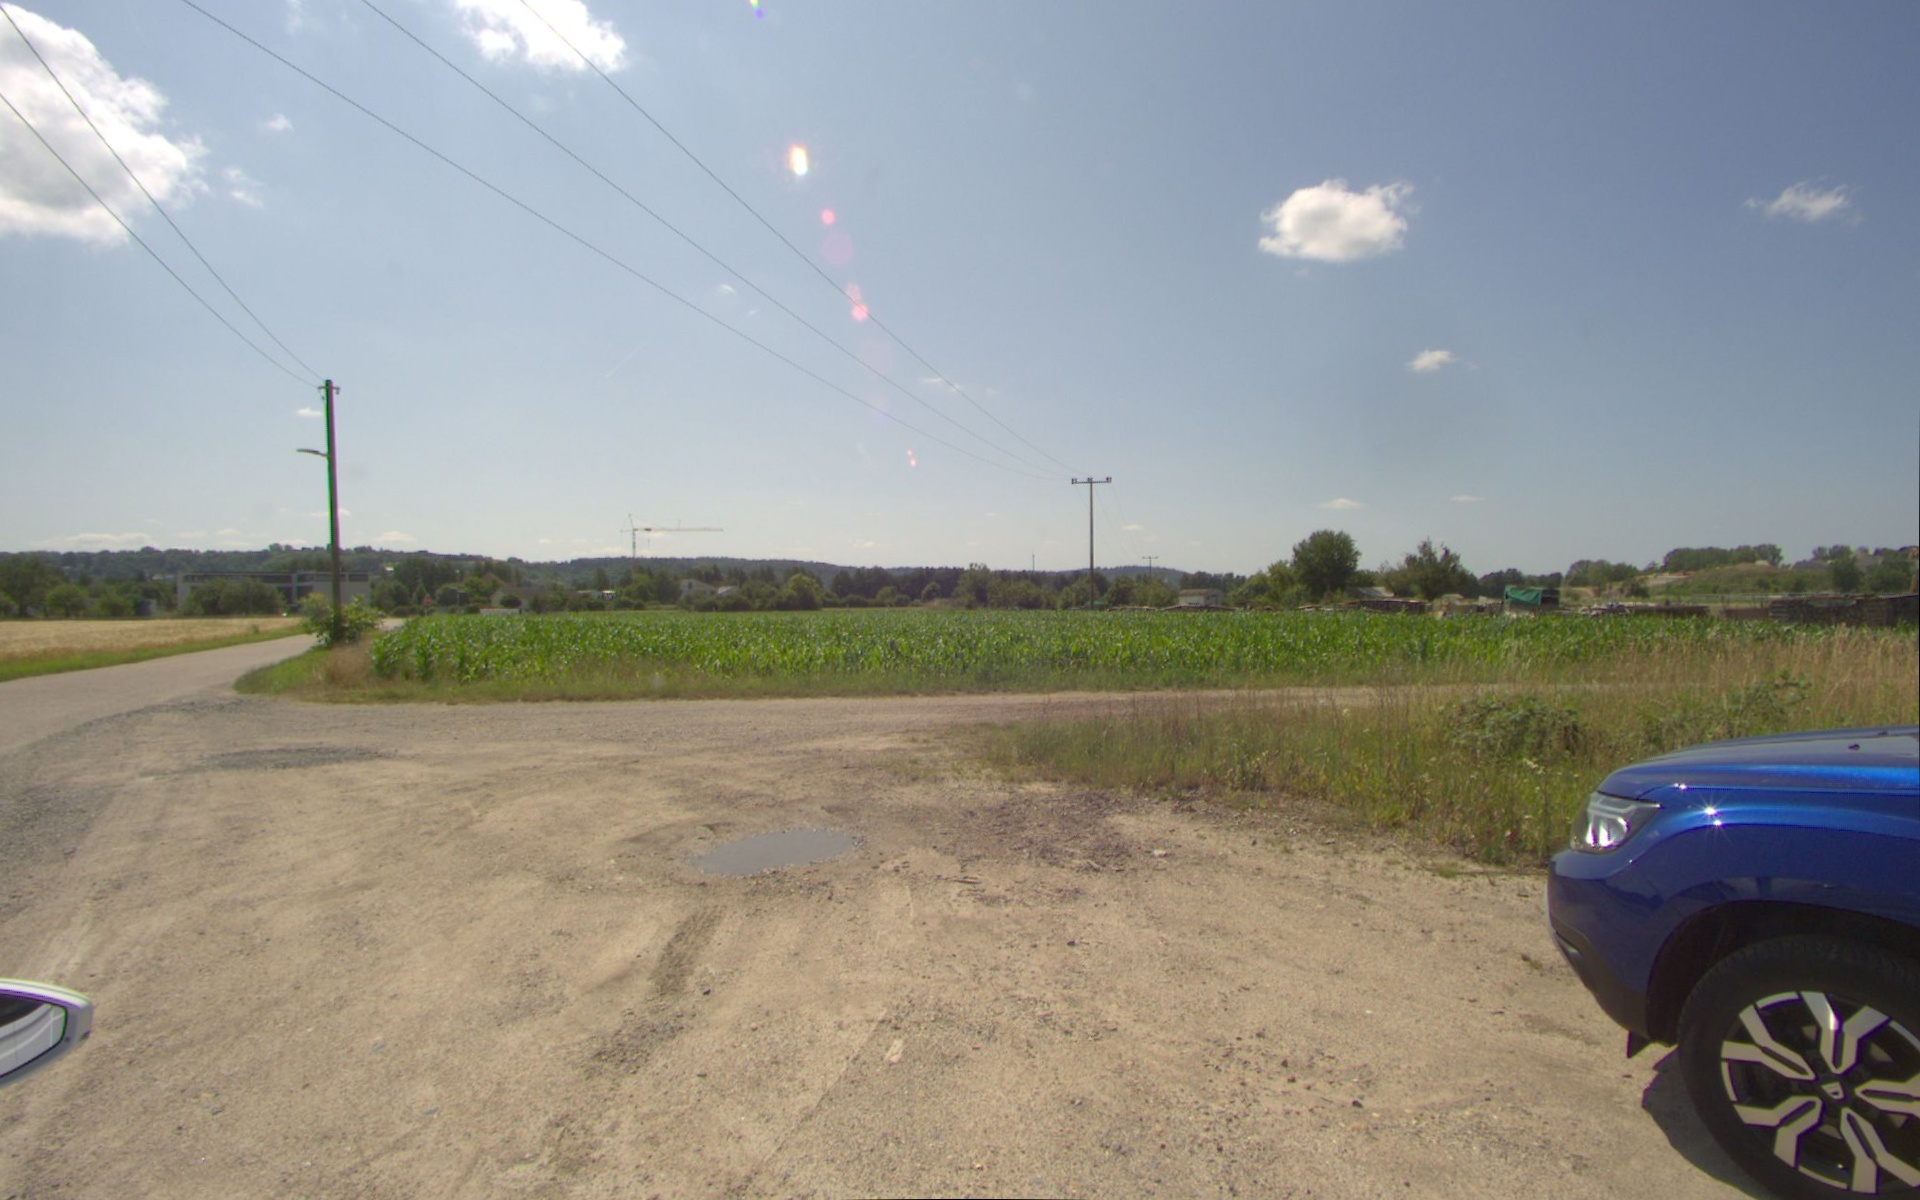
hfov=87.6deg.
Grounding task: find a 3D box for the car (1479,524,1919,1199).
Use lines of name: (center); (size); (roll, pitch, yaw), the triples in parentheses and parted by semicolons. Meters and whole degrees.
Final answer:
car: (3.681, 0.654, 1.923); (1.843, 1.682, 4.423); (1, -1, -39)
